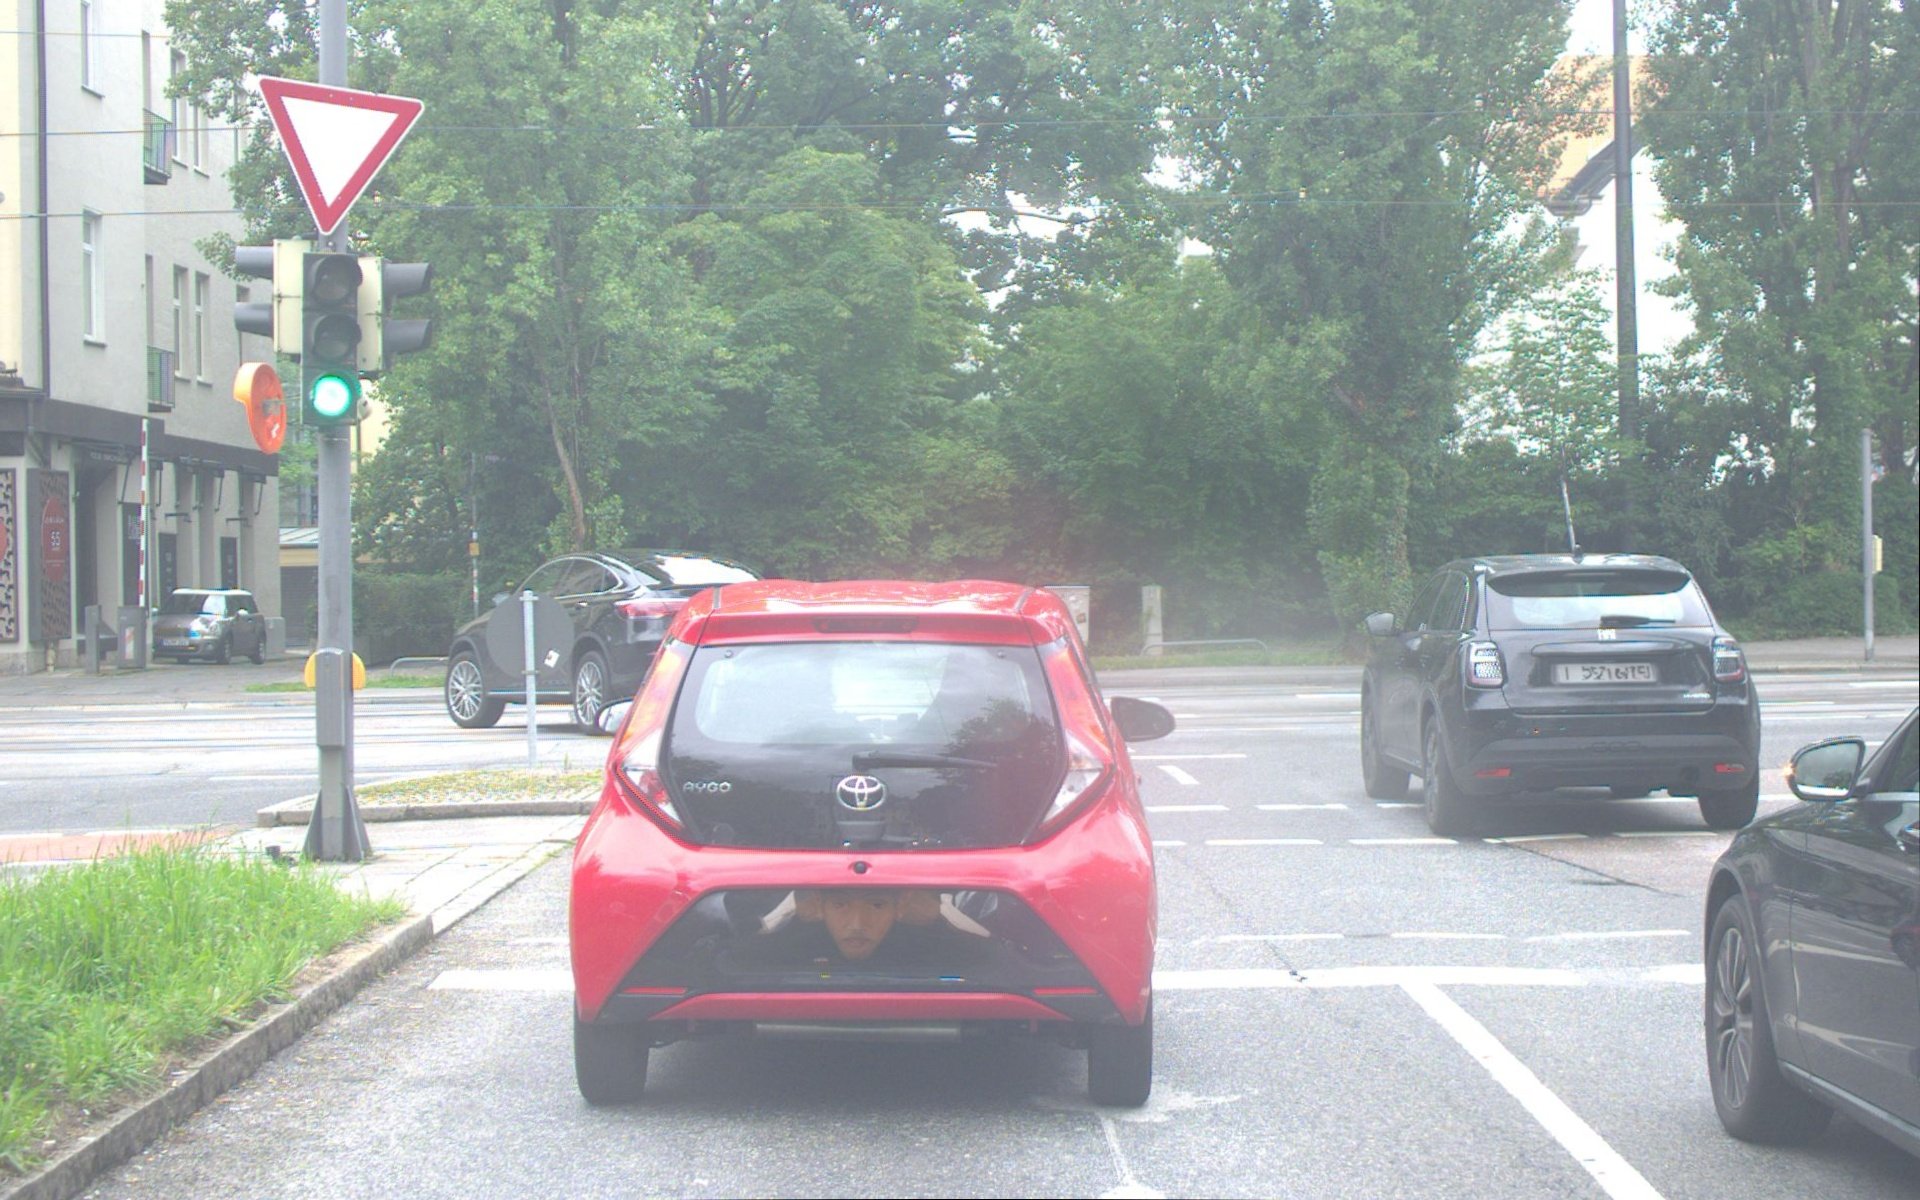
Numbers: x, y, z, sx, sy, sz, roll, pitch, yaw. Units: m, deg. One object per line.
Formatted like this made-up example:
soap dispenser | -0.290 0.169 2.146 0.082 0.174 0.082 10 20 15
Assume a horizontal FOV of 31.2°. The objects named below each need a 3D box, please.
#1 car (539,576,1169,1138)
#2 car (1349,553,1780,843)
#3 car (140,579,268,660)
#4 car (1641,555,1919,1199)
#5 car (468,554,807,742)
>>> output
car | -0.234 0.663 10.702 1.628 1.435 3.376 -1 1 2
car | 3.388 0.508 19.979 1.781 1.481 4.000 -1 0 0
car | -14.296 0.344 65.209 1.725 1.437 4.000 -1 1 -3
car | 2.846 0.688 7.367 1.863 1.544 4.703 1 1 1
car | -3.014 0.389 31.220 1.735 1.544 4.577 -1 1 -23
